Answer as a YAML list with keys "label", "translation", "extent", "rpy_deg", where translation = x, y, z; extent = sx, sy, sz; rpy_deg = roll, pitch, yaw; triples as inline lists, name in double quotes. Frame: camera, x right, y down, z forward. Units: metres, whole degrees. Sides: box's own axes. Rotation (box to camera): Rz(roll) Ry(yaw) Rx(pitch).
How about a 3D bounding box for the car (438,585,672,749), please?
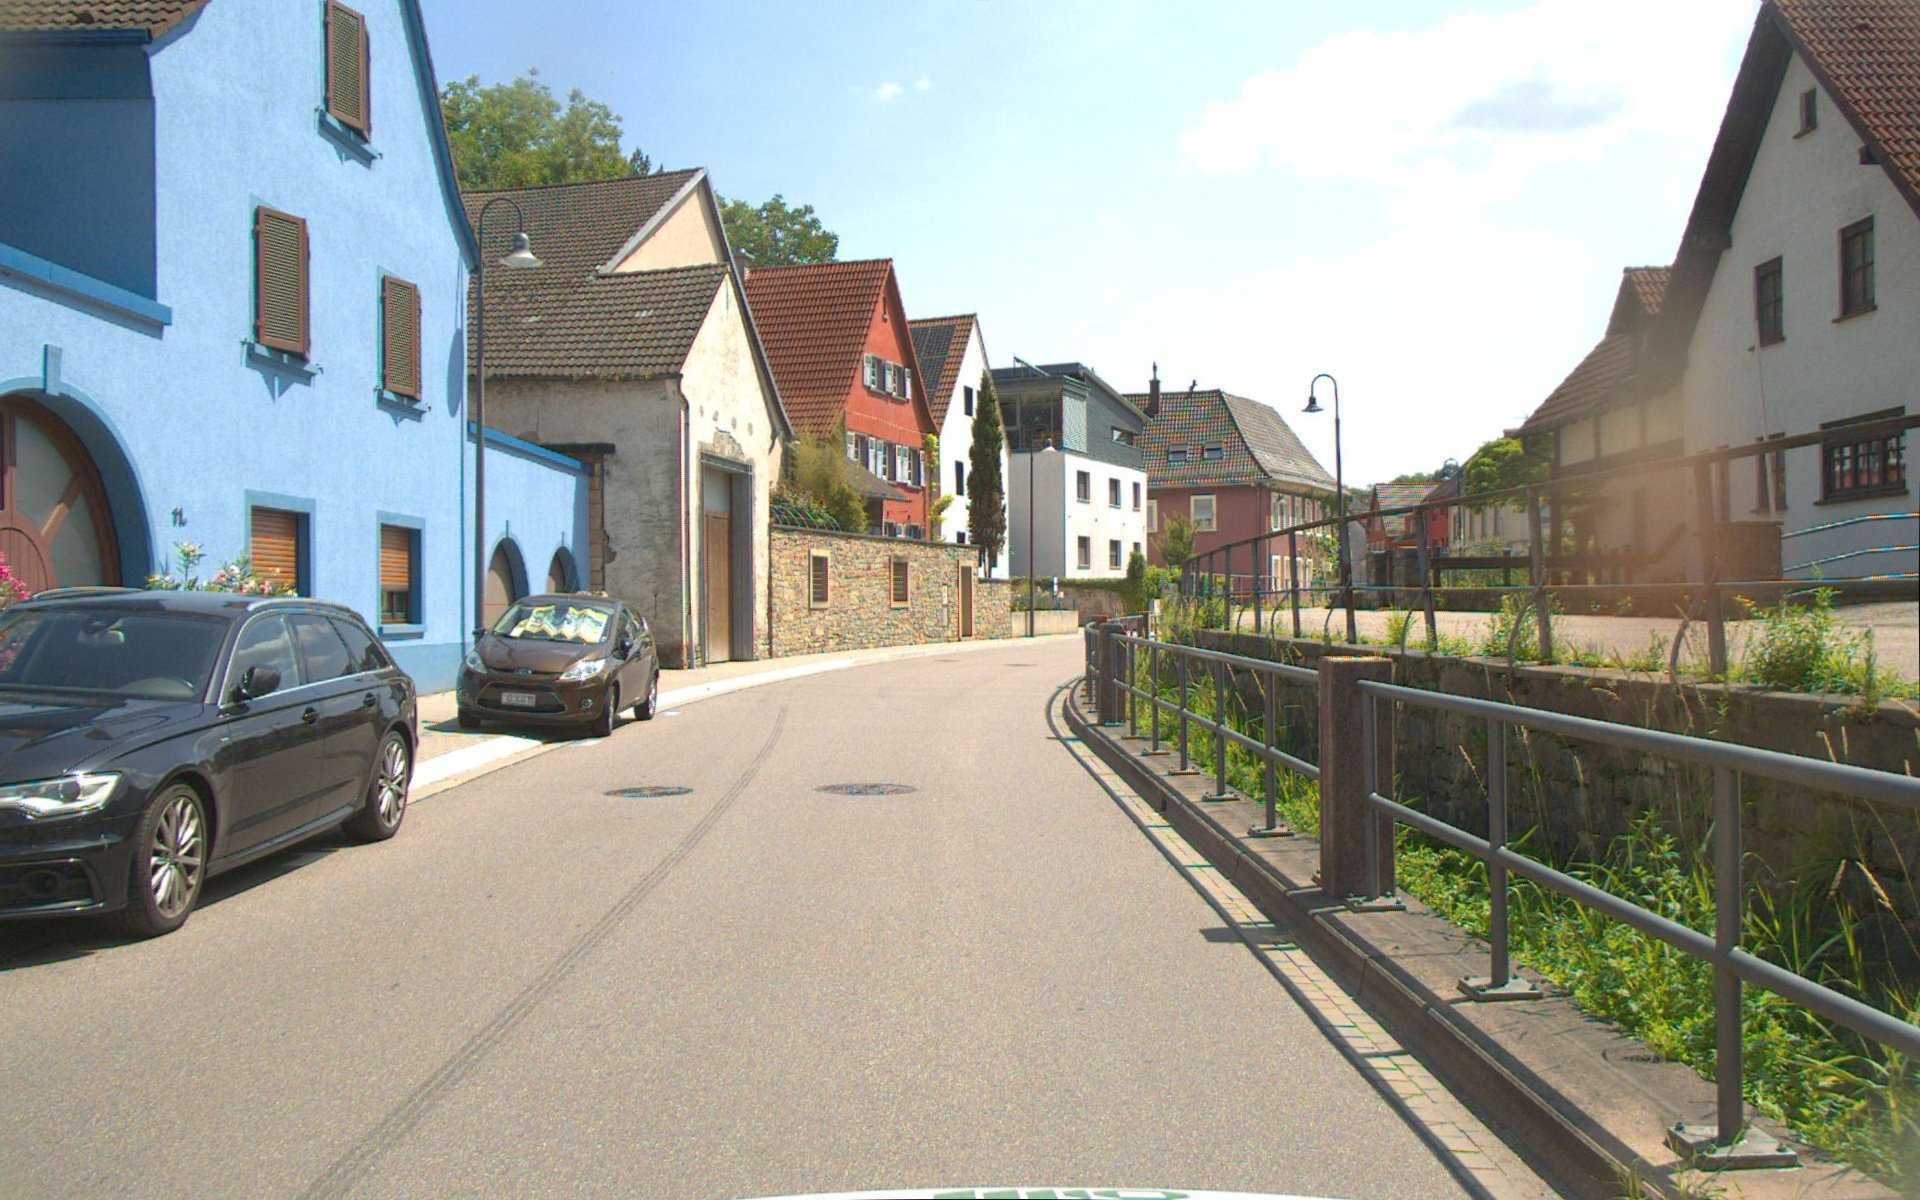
- label: "car"
  translation: [-4.501, 0.675, 18.948]
  extent: [1.683, 1.556, 3.855]
  rpy_deg: [5, 0, -1]

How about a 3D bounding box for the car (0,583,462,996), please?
- label: "car"
  translation: [-4.267, 0.698, 8.625]
  extent: [1.846, 1.489, 4.668]
  rpy_deg: [2, 1, 0]
